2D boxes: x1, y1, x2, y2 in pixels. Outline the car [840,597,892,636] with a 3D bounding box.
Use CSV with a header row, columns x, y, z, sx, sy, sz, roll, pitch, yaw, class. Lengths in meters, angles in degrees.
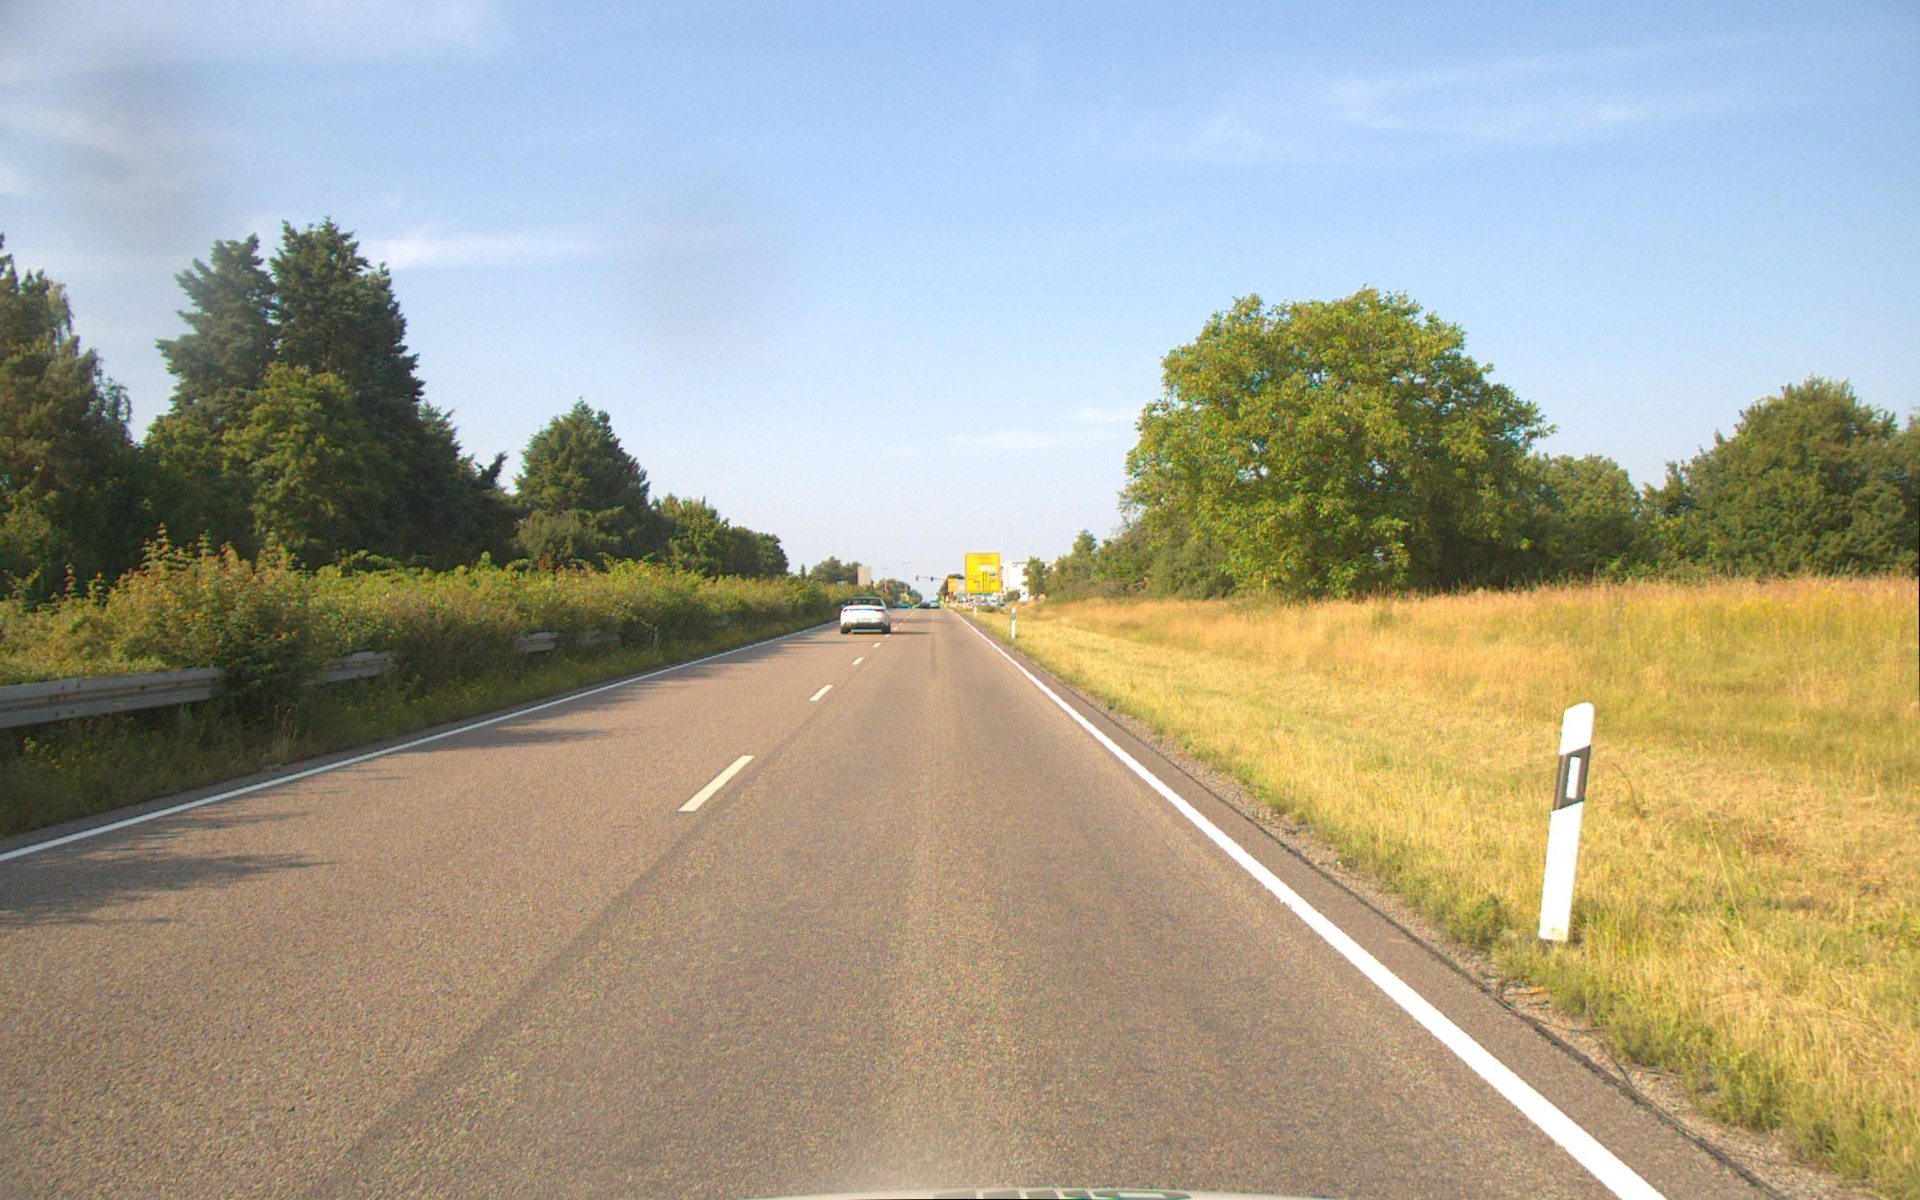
x,y,z,sx,sy,sz,roll,pitch,yaw,class
-3.587,0.612,63.517,1.871,1.447,3.999,0,0,-2,car
